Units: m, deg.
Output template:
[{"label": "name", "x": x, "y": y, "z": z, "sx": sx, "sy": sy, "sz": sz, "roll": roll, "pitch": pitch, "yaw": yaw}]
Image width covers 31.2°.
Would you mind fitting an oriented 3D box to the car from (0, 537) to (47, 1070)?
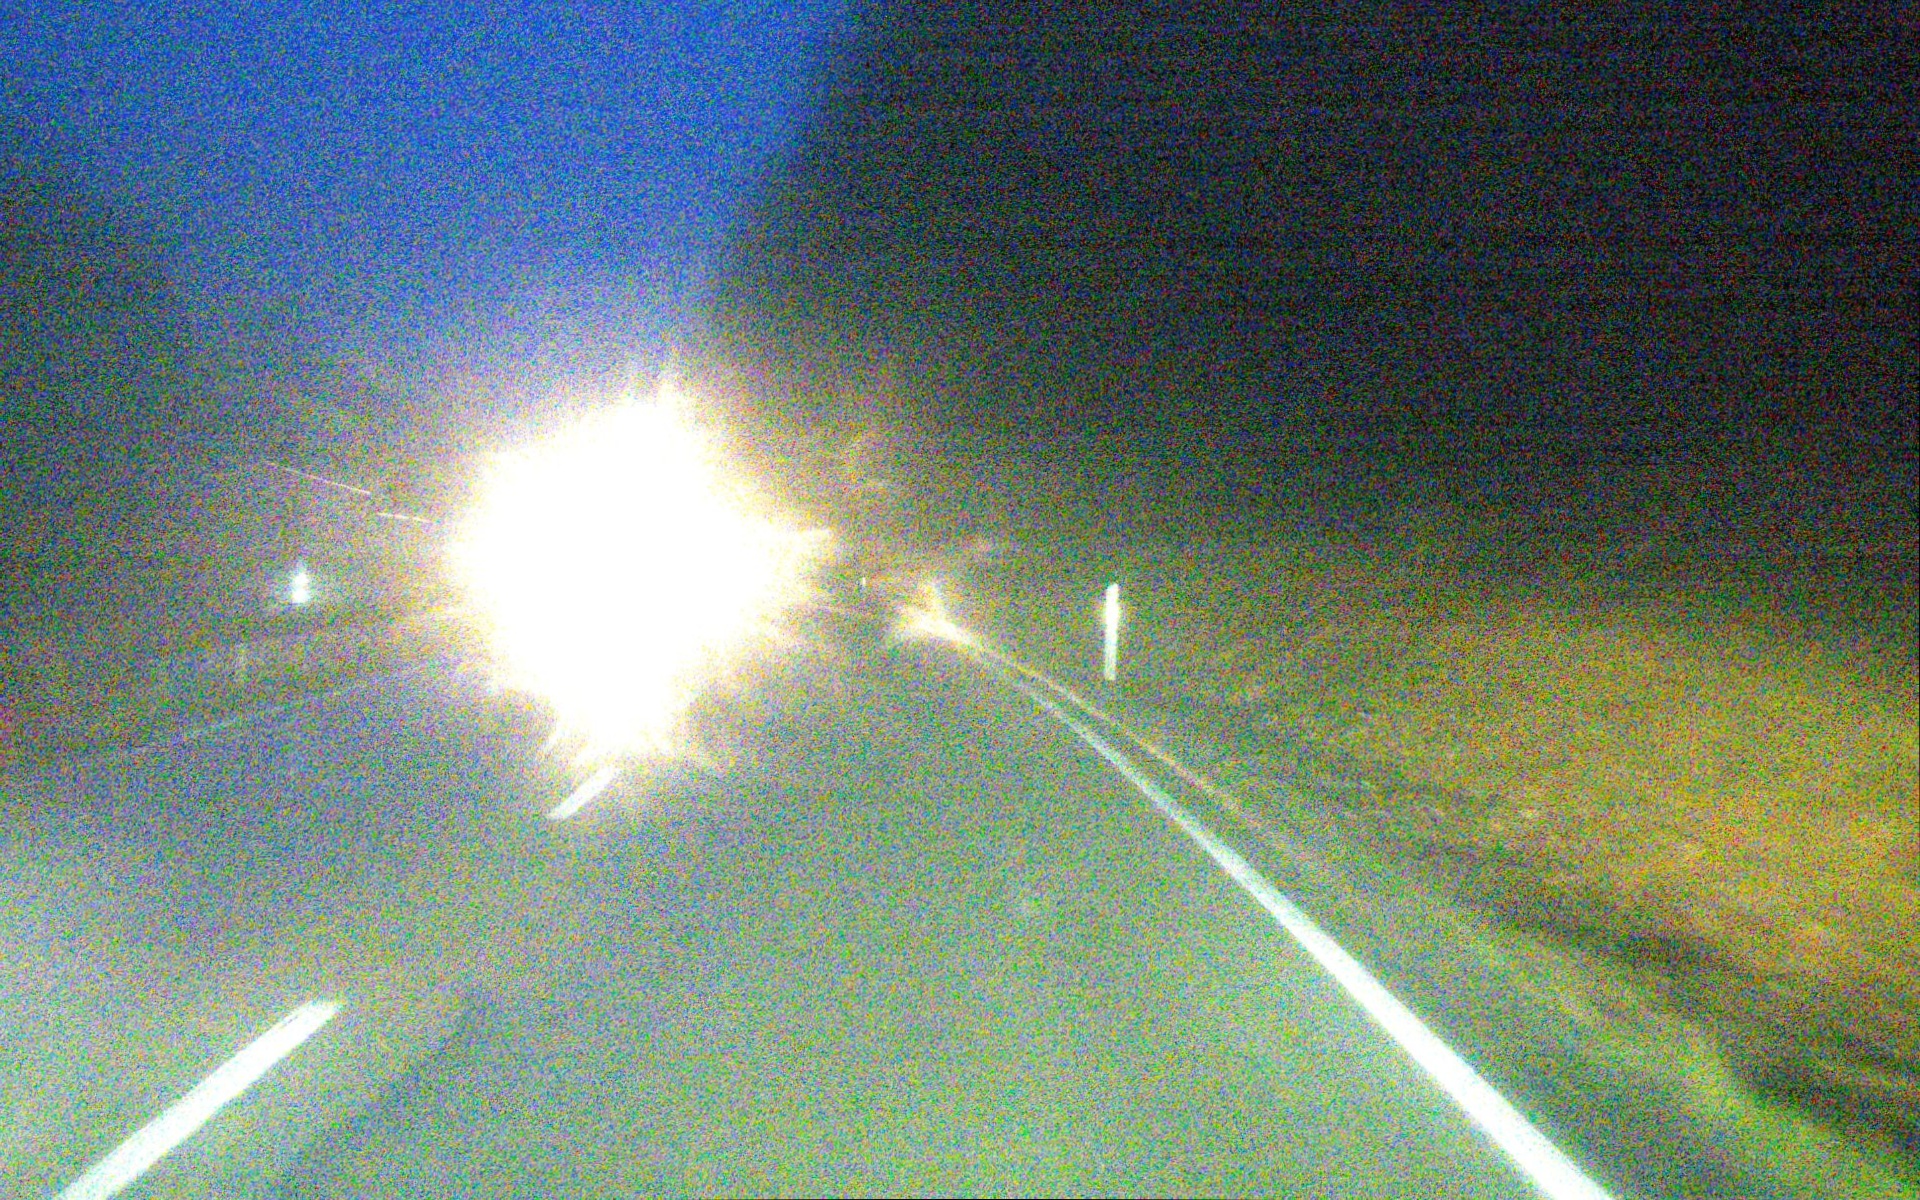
[{"label": "car", "x": -3.628, "y": 0.574, "z": 7.751, "sx": 1.855, "sy": 1.516, "sz": 4.681, "roll": 2, "pitch": 1, "yaw": 0}]
